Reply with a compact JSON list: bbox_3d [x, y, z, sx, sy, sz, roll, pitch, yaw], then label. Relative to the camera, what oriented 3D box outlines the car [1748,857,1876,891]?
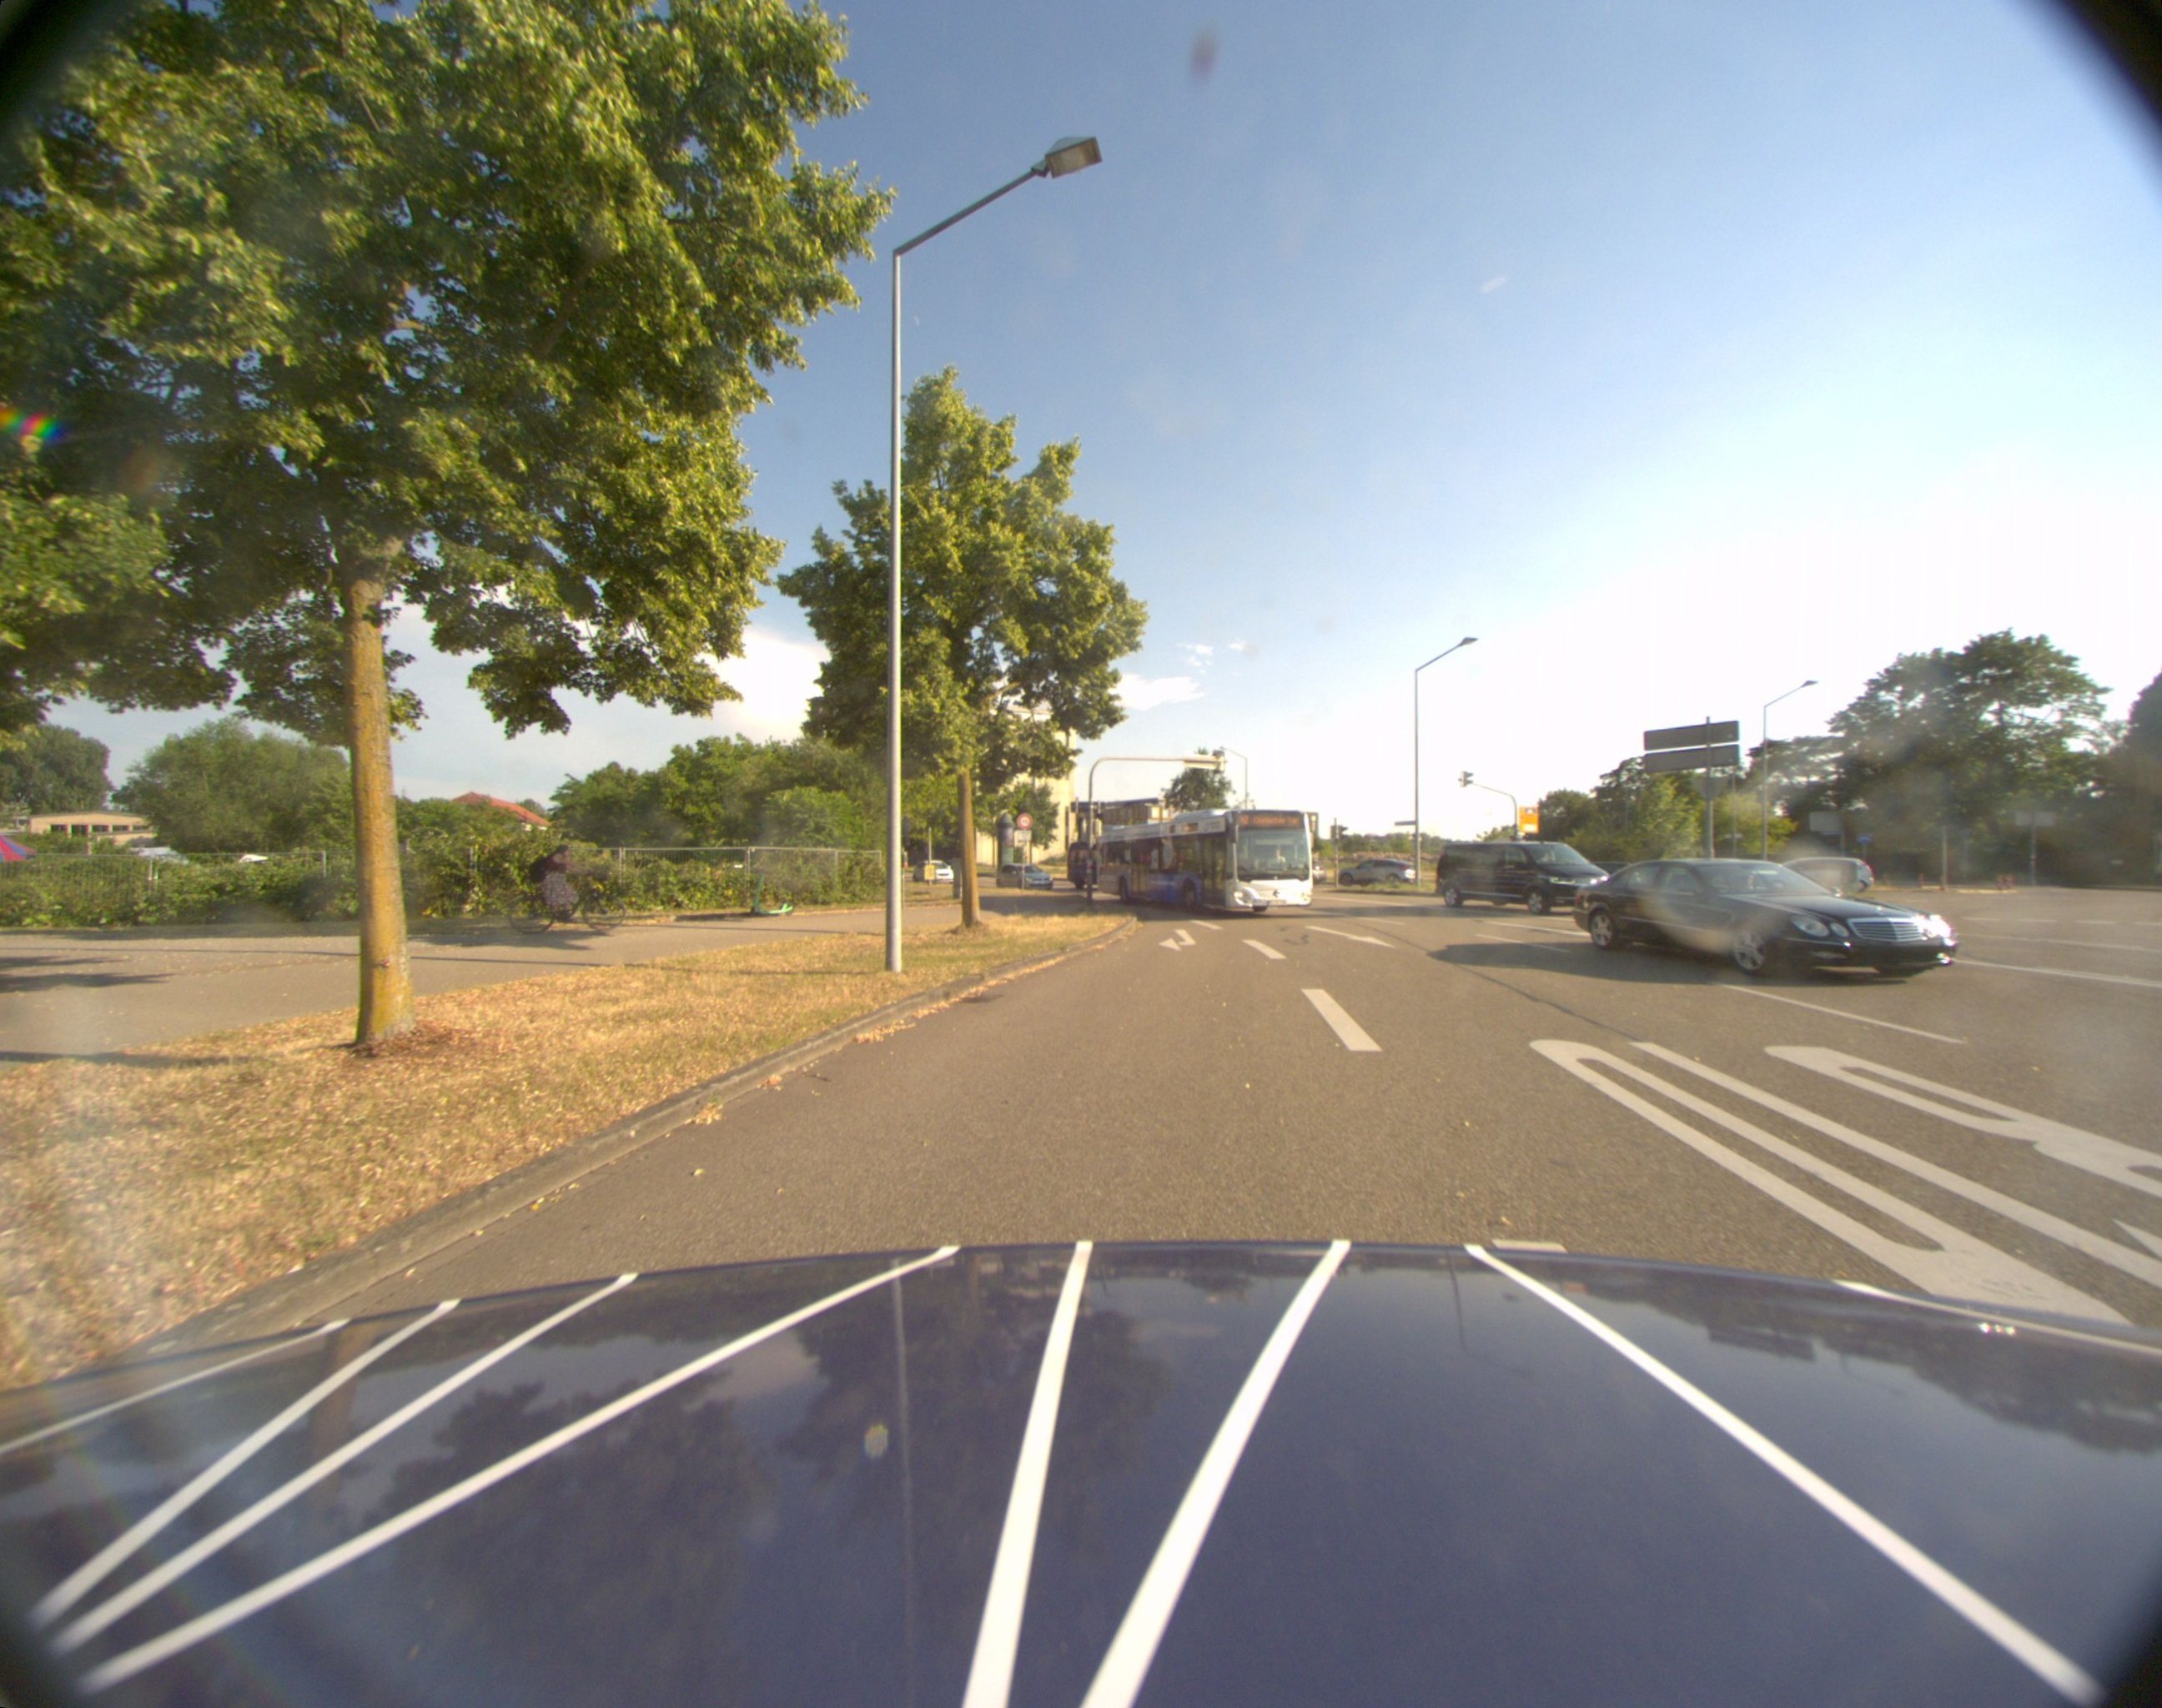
[{"bbox_3d":[33.528,0.887,34.986,3.933,1.516,1.659,0,0,26],"label":"car"}]

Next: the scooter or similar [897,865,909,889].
[{"bbox_3d":[-8.736,1.128,37.316,0.250,1.119,1.092,3,-1,-28],"label":"scooter or similar"}]

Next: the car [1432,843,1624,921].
[{"bbox_3d":[12.398,0.663,21.562,1.862,1.921,5.008,-1,1,-10],"label":"car"}]

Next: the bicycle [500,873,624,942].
[{"bbox_3d":[-9.427,0.943,13.875,1.832,1.149,0.490,0,1,-34],"label":"bicycle"}]

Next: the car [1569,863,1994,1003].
[{"bbox_3d":[8.993,0.884,10.438,1.810,1.428,4.494,-1,0,2],"label":"car"}]

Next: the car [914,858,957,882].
[{"bbox_3d":[-10.000,1.064,52.141,1.588,1.553,3.618,0,0,-34],"label":"car"}]

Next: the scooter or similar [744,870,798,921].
[{"bbox_3d":[-7.403,0.981,18.169,0.341,1.153,1.173,1,0,38],"label":"scooter or similar"}]

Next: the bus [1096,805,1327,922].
[{"bbox_3d":[3.616,0.210,25.671,2.598,3.025,11.701,-1,0,-17],"label":"bus"}]

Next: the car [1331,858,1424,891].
[{"bbox_3d":[15.447,1.035,39.757,1.780,1.663,4.188,0,0,-39],"label":"car"}]

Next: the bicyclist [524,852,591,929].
[{"bbox_3d":[-9.510,0.645,13.826,0.982,1.355,0.557,0,1,-34],"label":"bicyclist"}]

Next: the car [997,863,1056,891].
[{"bbox_3d":[-2.995,1.220,41.222,1.588,1.415,3.618,0,0,-34],"label":"car"}]

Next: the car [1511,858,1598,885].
[{"bbox_3d":[24.862,0.906,39.996,3.820,1.341,1.484,0,0,32],"label":"car"}]
